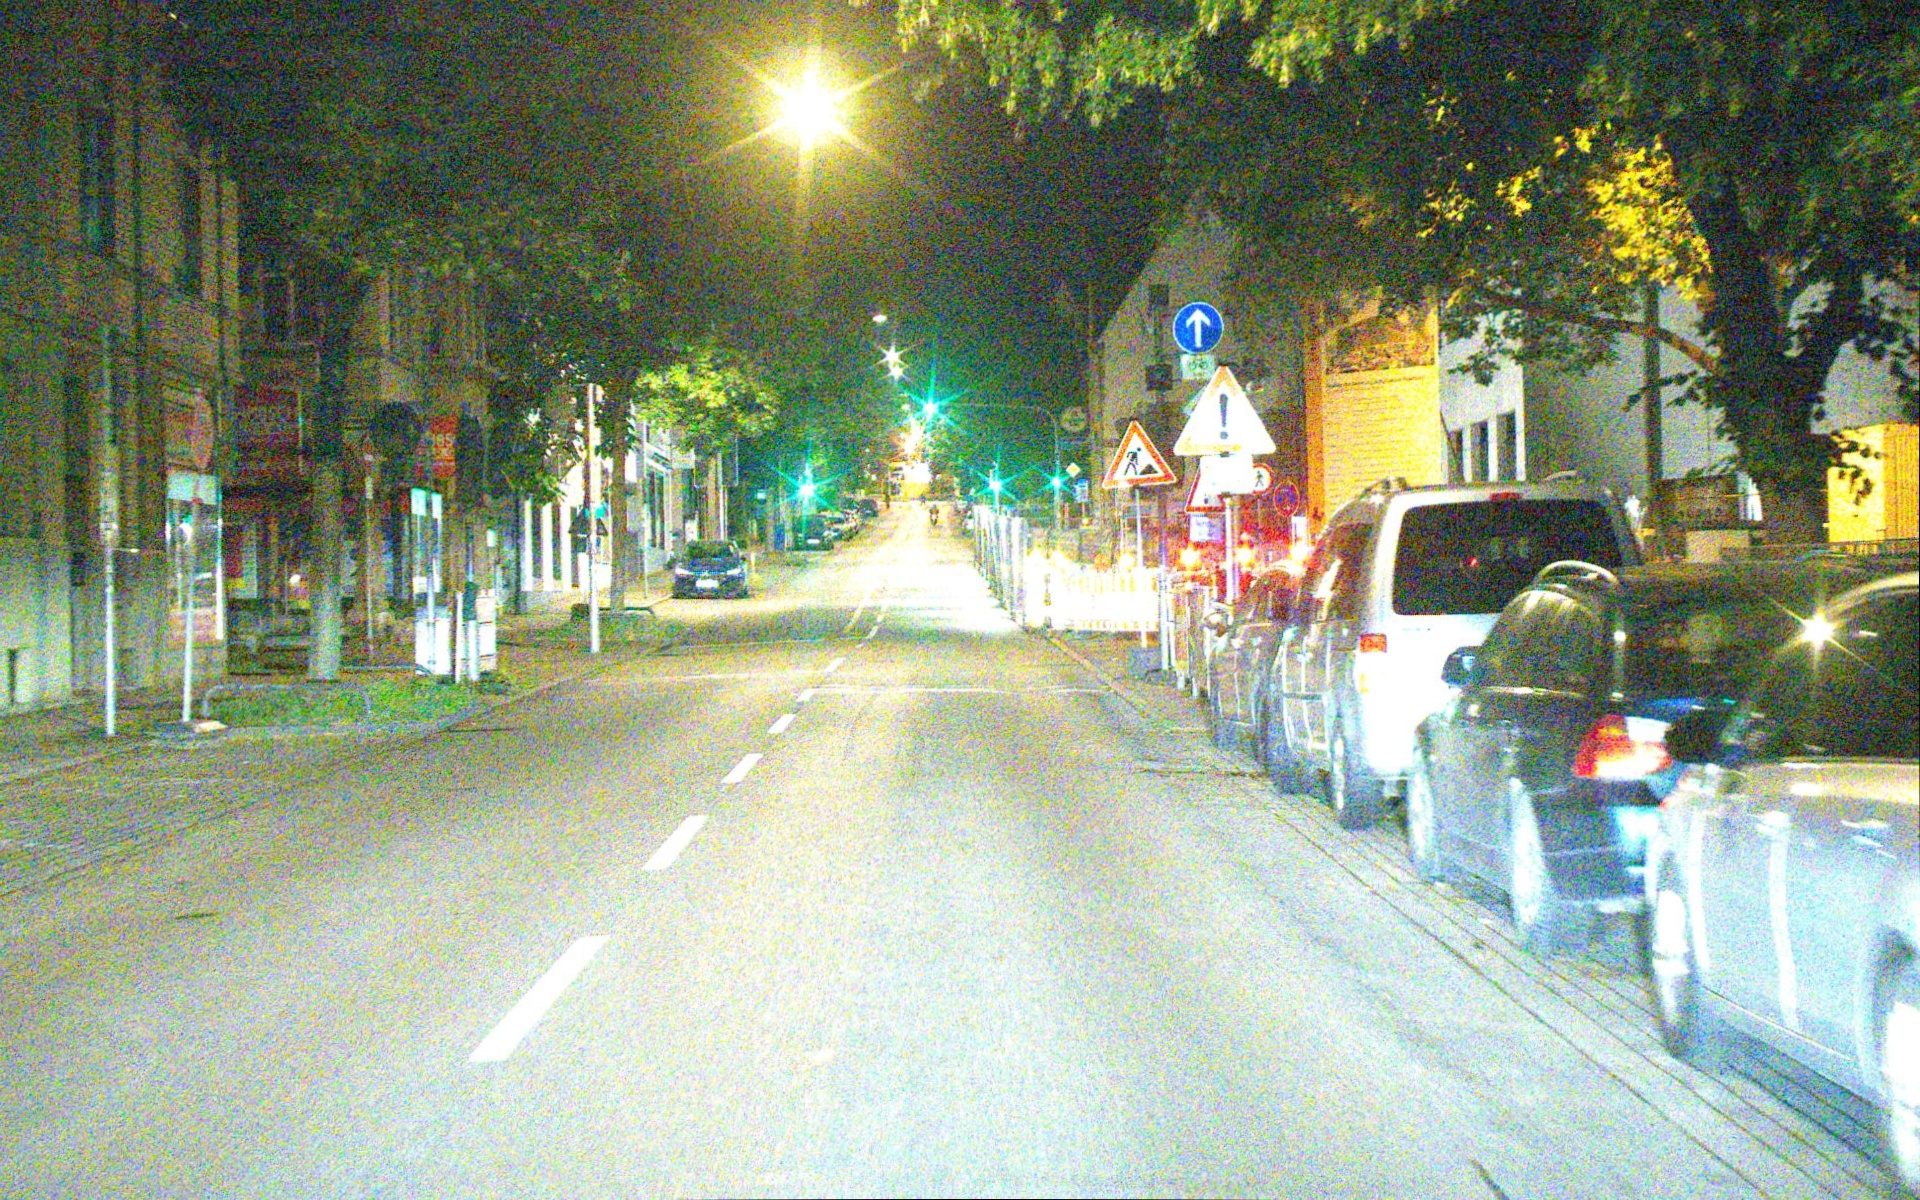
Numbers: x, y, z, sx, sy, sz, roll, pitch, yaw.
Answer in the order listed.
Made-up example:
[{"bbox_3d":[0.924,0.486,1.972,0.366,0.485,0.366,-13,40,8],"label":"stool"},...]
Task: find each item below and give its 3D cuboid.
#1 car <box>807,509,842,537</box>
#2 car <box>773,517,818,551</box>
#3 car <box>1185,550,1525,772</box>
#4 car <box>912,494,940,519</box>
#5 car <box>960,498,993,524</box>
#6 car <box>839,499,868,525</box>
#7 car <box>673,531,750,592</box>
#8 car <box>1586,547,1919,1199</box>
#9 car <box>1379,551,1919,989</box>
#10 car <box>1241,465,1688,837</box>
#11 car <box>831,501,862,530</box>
[{"bbox_3d":[-7.738,-4.383,196.334,1.873,1.539,4.205,-1,2,-1],"label":"car"},{"bbox_3d":[-7.565,-3.052,158.544,1.873,1.539,4.205,-1,2,-1],"label":"car"},{"bbox_3d":[2.745,0.372,24.780,1.727,1.414,4.324,-1,1,-3],"label":"car"},{"bbox_3d":[-2.451,-6.744,248.150,1.873,1.808,4.205,-1,2,1],"label":"car"},{"bbox_3d":[0.992,-5.430,209.297,1.873,1.539,4.205,-1,2,-1],"label":"car"},{"bbox_3d":[-7.376,-6.116,238.517,1.873,1.808,4.205,-1,2,1],"label":"car"},{"bbox_3d":[-6.254,-0.989,86.861,1.671,1.438,4.205,-1,2,-1],"label":"car"},{"bbox_3d":[2.858,0.617,8.694,1.739,1.472,4.000,-3,1,0],"label":"car"},{"bbox_3d":[2.851,0.548,13.910,1.686,1.416,4.444,-2,1,0],"label":"car"},{"bbox_3d":[2.757,0.223,19.728,1.735,1.848,4.317,-2,1,-2],"label":"car"},{"bbox_3d":[-7.260,-5.419,220.571,1.873,1.808,4.205,-1,2,-1],"label":"car"}]
